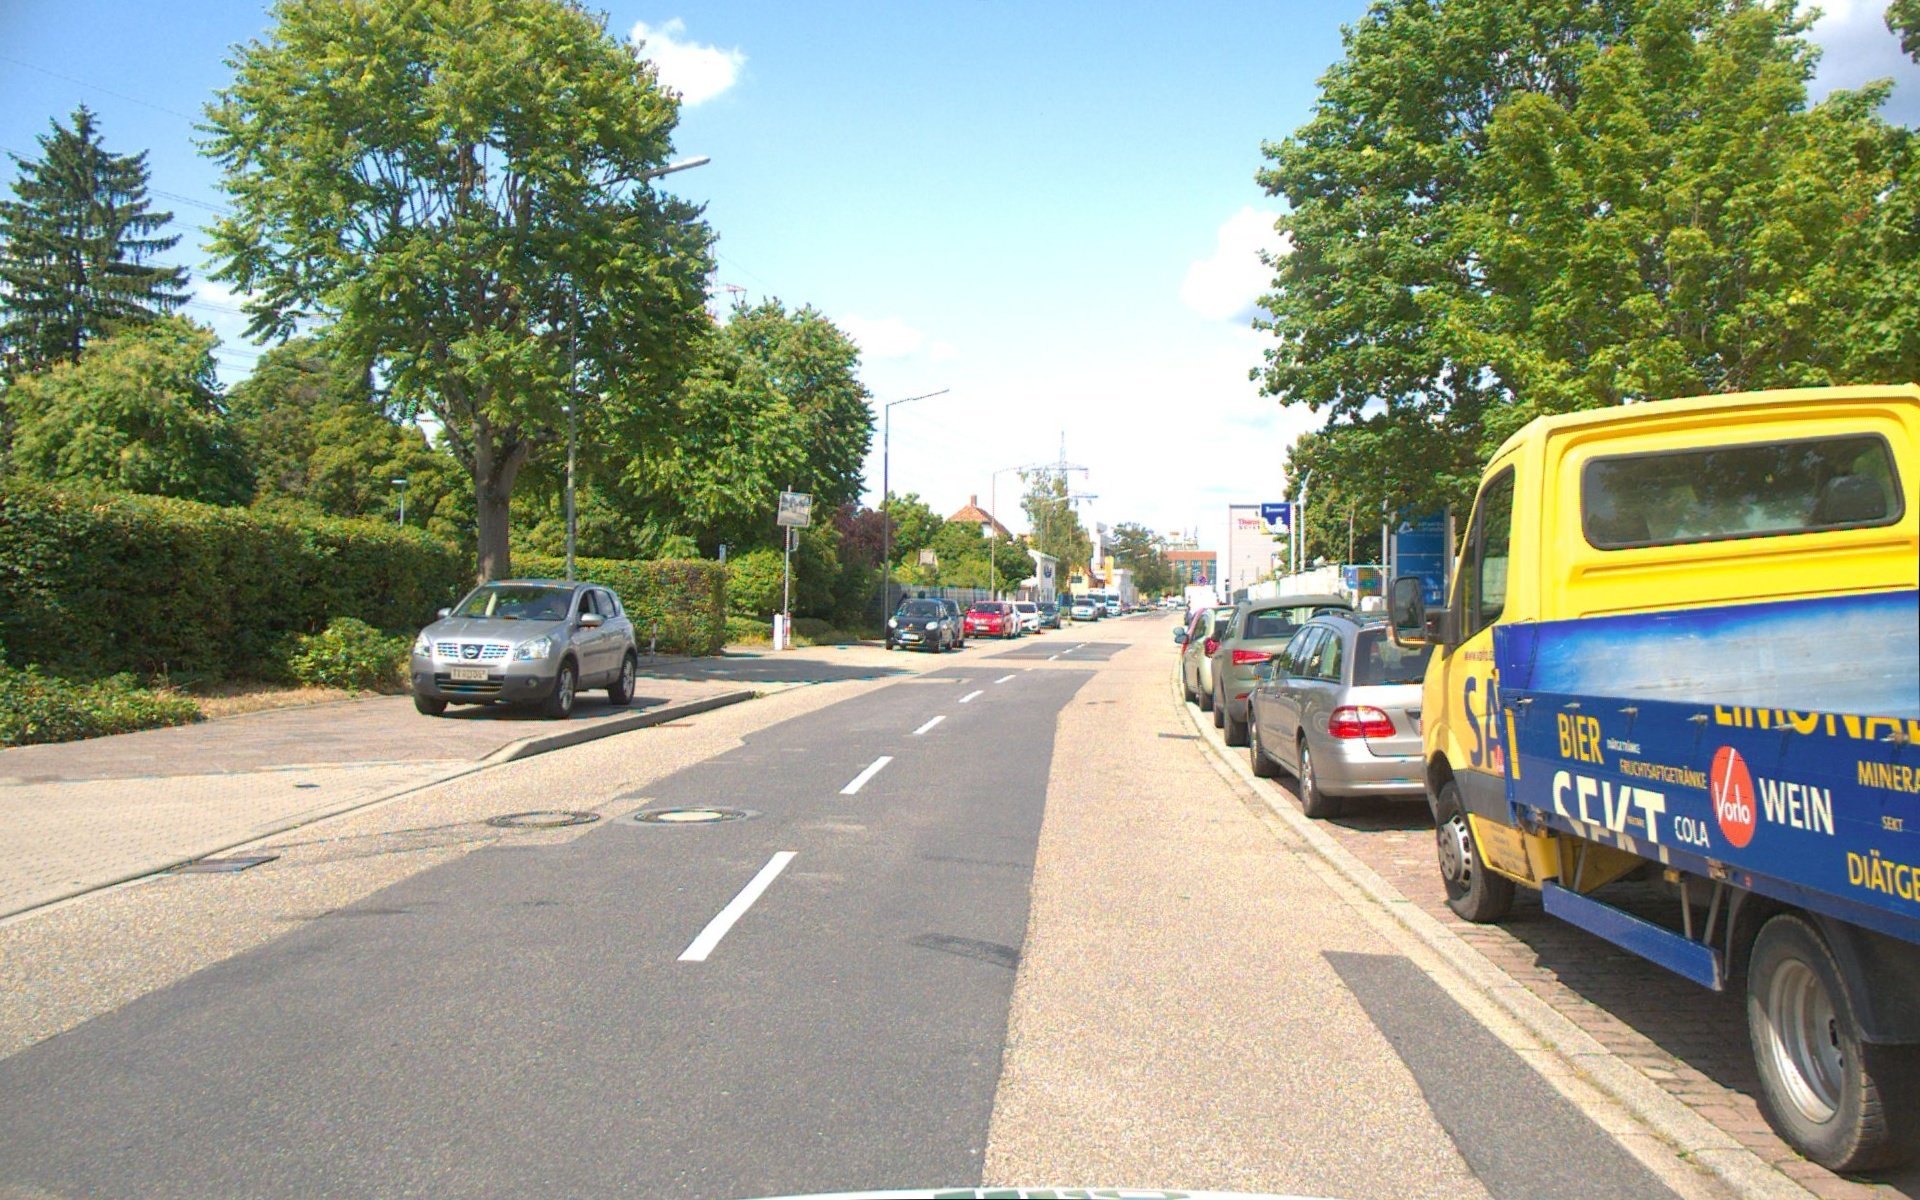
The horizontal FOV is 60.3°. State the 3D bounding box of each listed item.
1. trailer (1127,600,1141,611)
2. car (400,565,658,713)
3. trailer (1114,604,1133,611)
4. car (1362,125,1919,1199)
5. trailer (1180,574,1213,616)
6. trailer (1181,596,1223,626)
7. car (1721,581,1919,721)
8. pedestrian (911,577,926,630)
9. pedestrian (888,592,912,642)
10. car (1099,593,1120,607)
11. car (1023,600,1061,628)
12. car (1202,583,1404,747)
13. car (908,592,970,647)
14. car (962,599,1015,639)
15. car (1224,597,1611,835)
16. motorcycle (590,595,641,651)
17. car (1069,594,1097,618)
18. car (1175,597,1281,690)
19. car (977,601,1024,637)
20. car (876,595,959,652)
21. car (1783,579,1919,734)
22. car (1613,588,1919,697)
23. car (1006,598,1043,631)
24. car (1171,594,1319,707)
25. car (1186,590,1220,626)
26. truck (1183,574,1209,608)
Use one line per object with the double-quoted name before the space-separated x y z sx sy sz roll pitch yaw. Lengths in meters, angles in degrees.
"trailer" 26.284 0.804 249.214 1.951 1.584 4.257 1 0 8
"car" -5.201 0.444 20.626 1.720 1.601 4.479 1 0 4
"trailer" 22.626 1.070 228.531 2.312 0.908 5.573 2 0 8
"car" 3.274 0.198 6.152 2.112 2.508 6.641 -1 0 2
"trailer" 16.712 -0.328 117.085 2.157 2.785 6.226 -3 -1 7
"trailer" 12.824 0.587 87.773 1.712 1.442 4.551 -3 -1 3
"car" 11.803 0.615 20.631 3.792 1.666 1.911 0 0 8
"pedestrian" -1.540 0.141 61.088 0.441 1.927 0.678 1 -1 8
"pedestrian" -2.201 0.623 60.862 0.693 1.832 0.916 1 -1 8
"car" 15.495 0.013 171.301 1.758 1.422 4.505 2 0 9
"car" 4.604 0.744 92.163 1.767 1.443 4.500 3 0 7
"car" 3.944 0.691 19.711 1.794 1.636 4.571 -3 0 6
"car" -0.659 0.624 54.875 1.616 1.674 3.275 3 0 6
"car" 1.183 0.748 66.848 1.631 1.492 3.746 2 0 9
"car" 3.437 0.773 13.528 1.836 1.503 5.169 -2 0 2
"motorcycle" -7.855 0.506 37.781 0.521 1.241 2.087 0 0 6
"car" 9.623 0.442 129.064 1.753 1.749 4.755 3 0 8
"car" 4.868 0.744 30.397 1.716 1.512 4.228 -3 0 8
"car" 1.790 0.806 71.551 1.610 1.503 4.032 1 0 7
"car" -1.243 0.679 50.245 1.806 1.534 4.003 3 0 8
"car" 11.334 0.595 18.044 3.792 1.621 1.911 0 0 8
"car" 12.620 0.644 25.873 4.119 1.621 1.911 0 0 8
"car" 3.153 0.695 80.562 1.586 1.549 4.178 1 0 5
"car" 4.276 0.722 25.326 1.664 1.512 3.808 -3 0 2
"car" 14.362 0.460 98.052 1.951 2.049 5.654 0 0 8
"truck" 25.554 -0.948 178.936 2.406 3.350 6.823 -4 -1 8
